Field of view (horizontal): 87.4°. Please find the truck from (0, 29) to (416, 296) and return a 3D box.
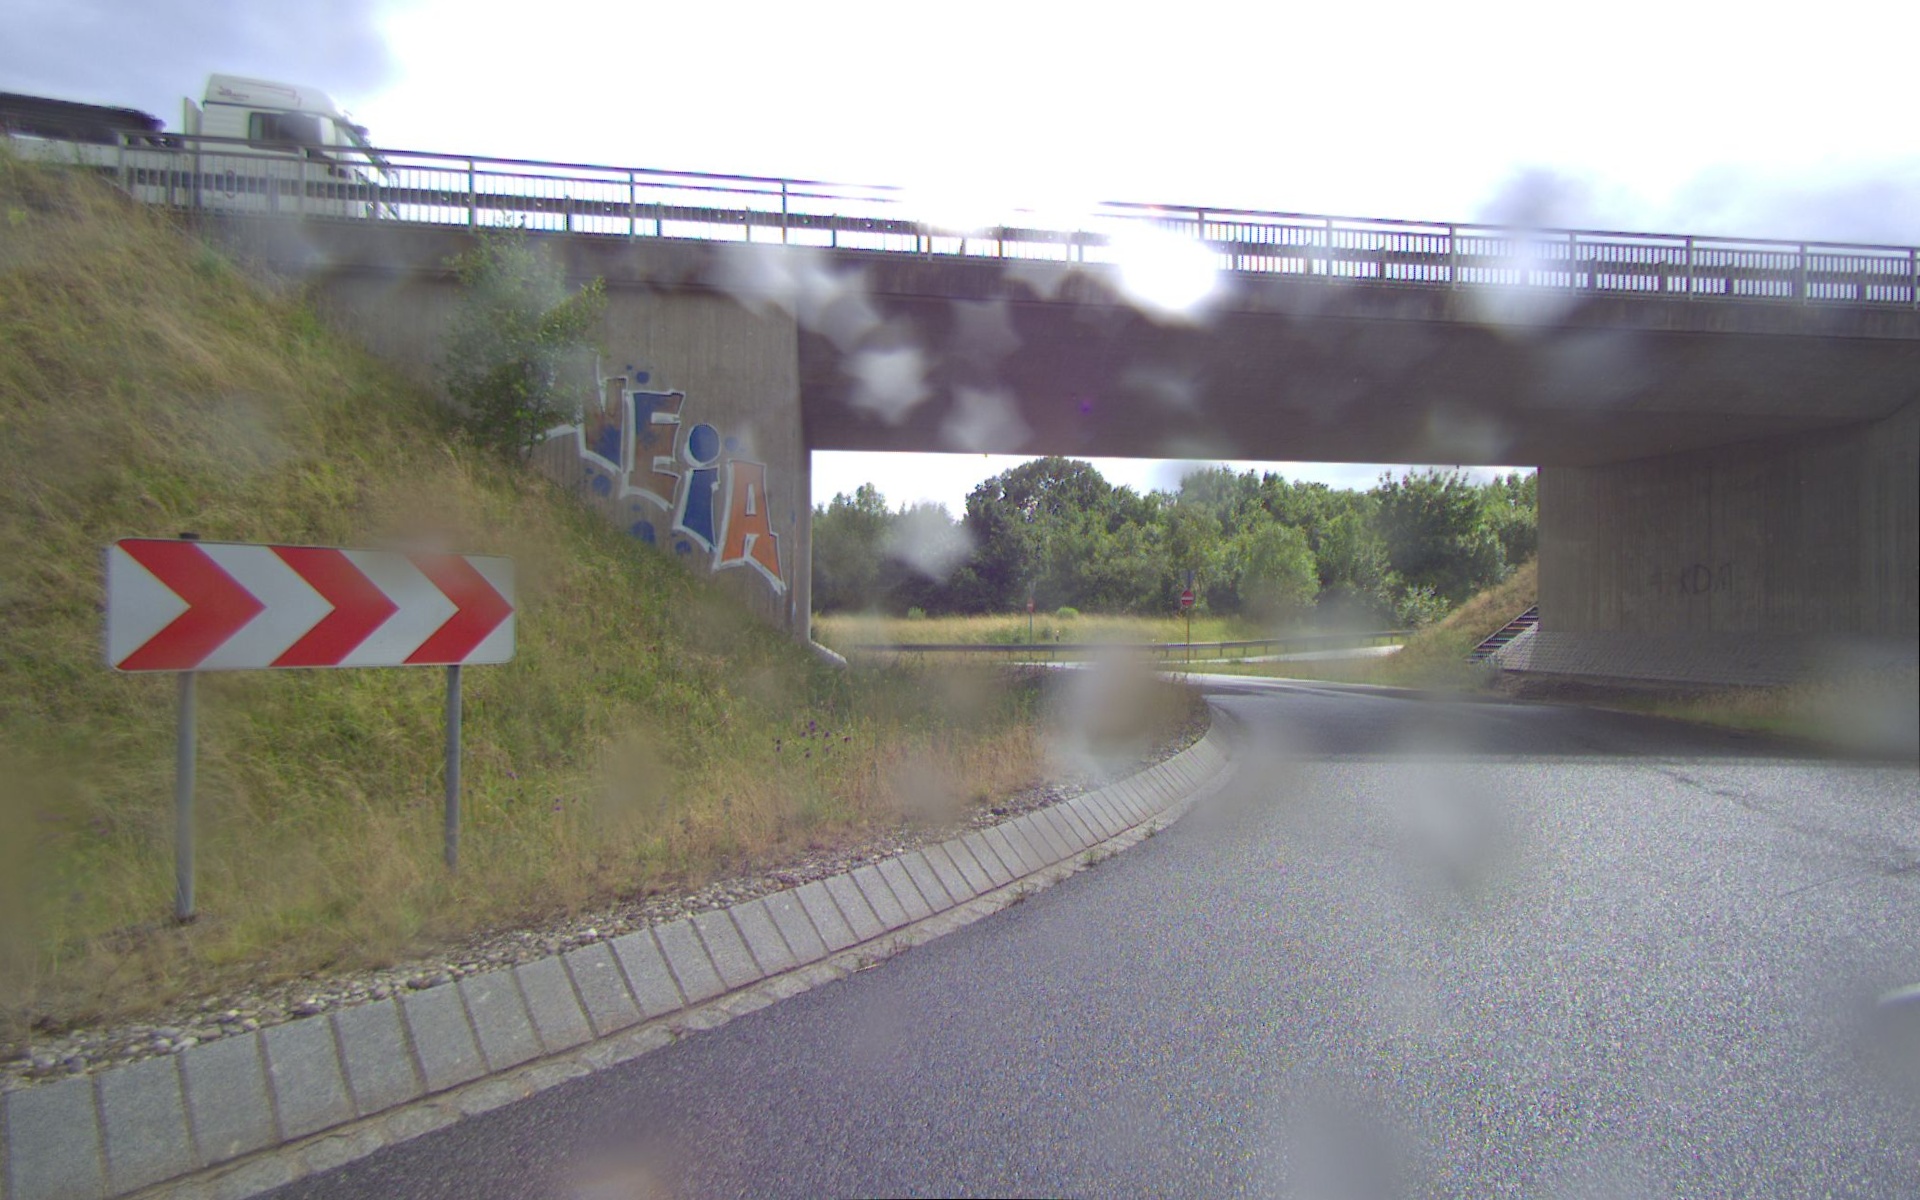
[{"bbox_3d":[-14.904,-7.110,16.082,10.639,2.912,2.201,1,0,-13],"label":"truck"}]
